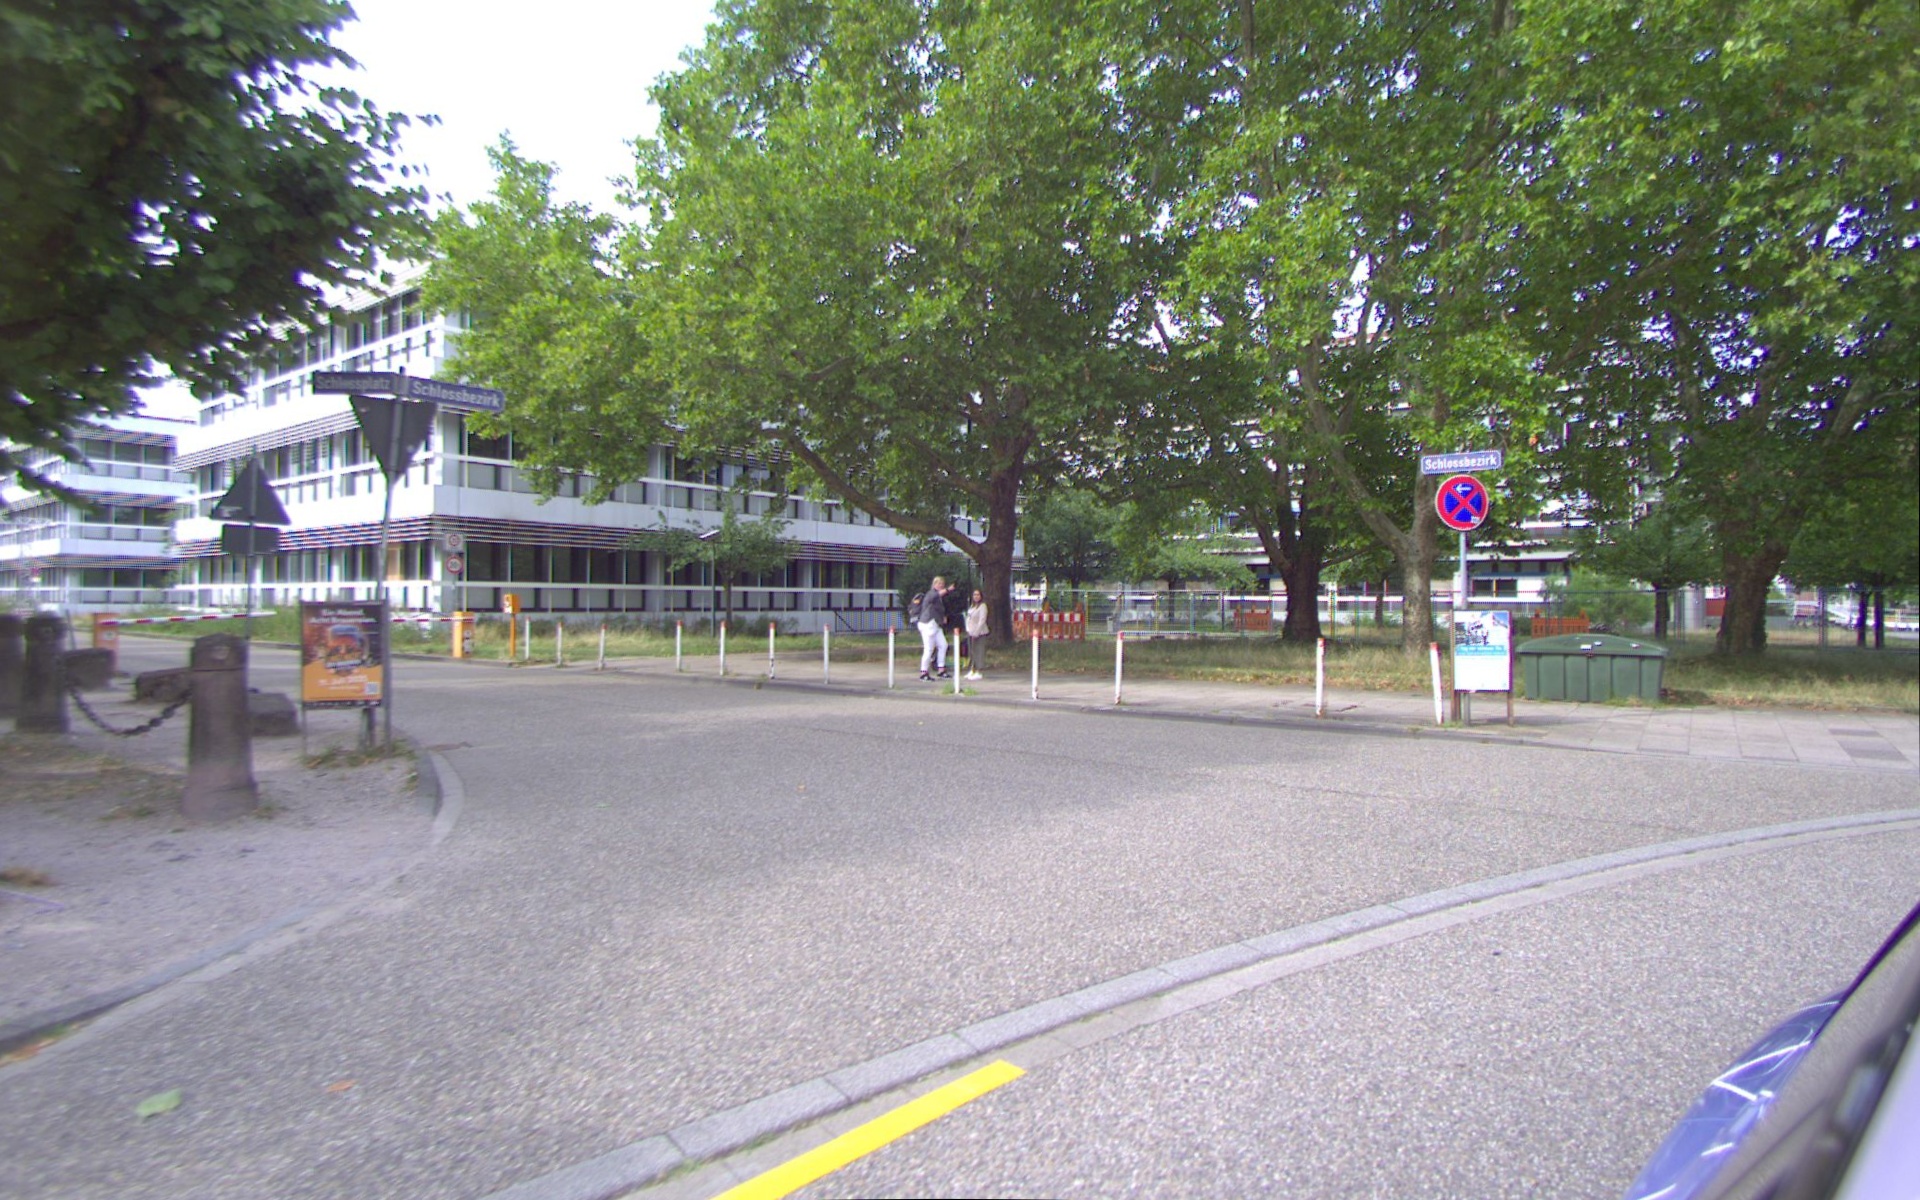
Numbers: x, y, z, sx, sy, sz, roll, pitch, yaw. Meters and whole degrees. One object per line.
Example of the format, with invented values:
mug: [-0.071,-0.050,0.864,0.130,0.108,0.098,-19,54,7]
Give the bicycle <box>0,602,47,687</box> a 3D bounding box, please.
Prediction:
bicycle: [-13.971,0.576,13.959,2.548,1.124,0.948,1,-1,21]

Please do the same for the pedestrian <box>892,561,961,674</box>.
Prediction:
pedestrian: [-0.527,0.283,16.655,0.946,1.764,1.253,1,-1,6]

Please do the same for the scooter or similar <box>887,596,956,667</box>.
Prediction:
scooter or similar: [-0.713,0.597,19.146,0.566,1.285,1.437,1,-2,33]

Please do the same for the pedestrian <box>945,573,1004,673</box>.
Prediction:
pedestrian: [0.240,0.399,17.487,0.835,1.662,0.900,2,-1,-8]
